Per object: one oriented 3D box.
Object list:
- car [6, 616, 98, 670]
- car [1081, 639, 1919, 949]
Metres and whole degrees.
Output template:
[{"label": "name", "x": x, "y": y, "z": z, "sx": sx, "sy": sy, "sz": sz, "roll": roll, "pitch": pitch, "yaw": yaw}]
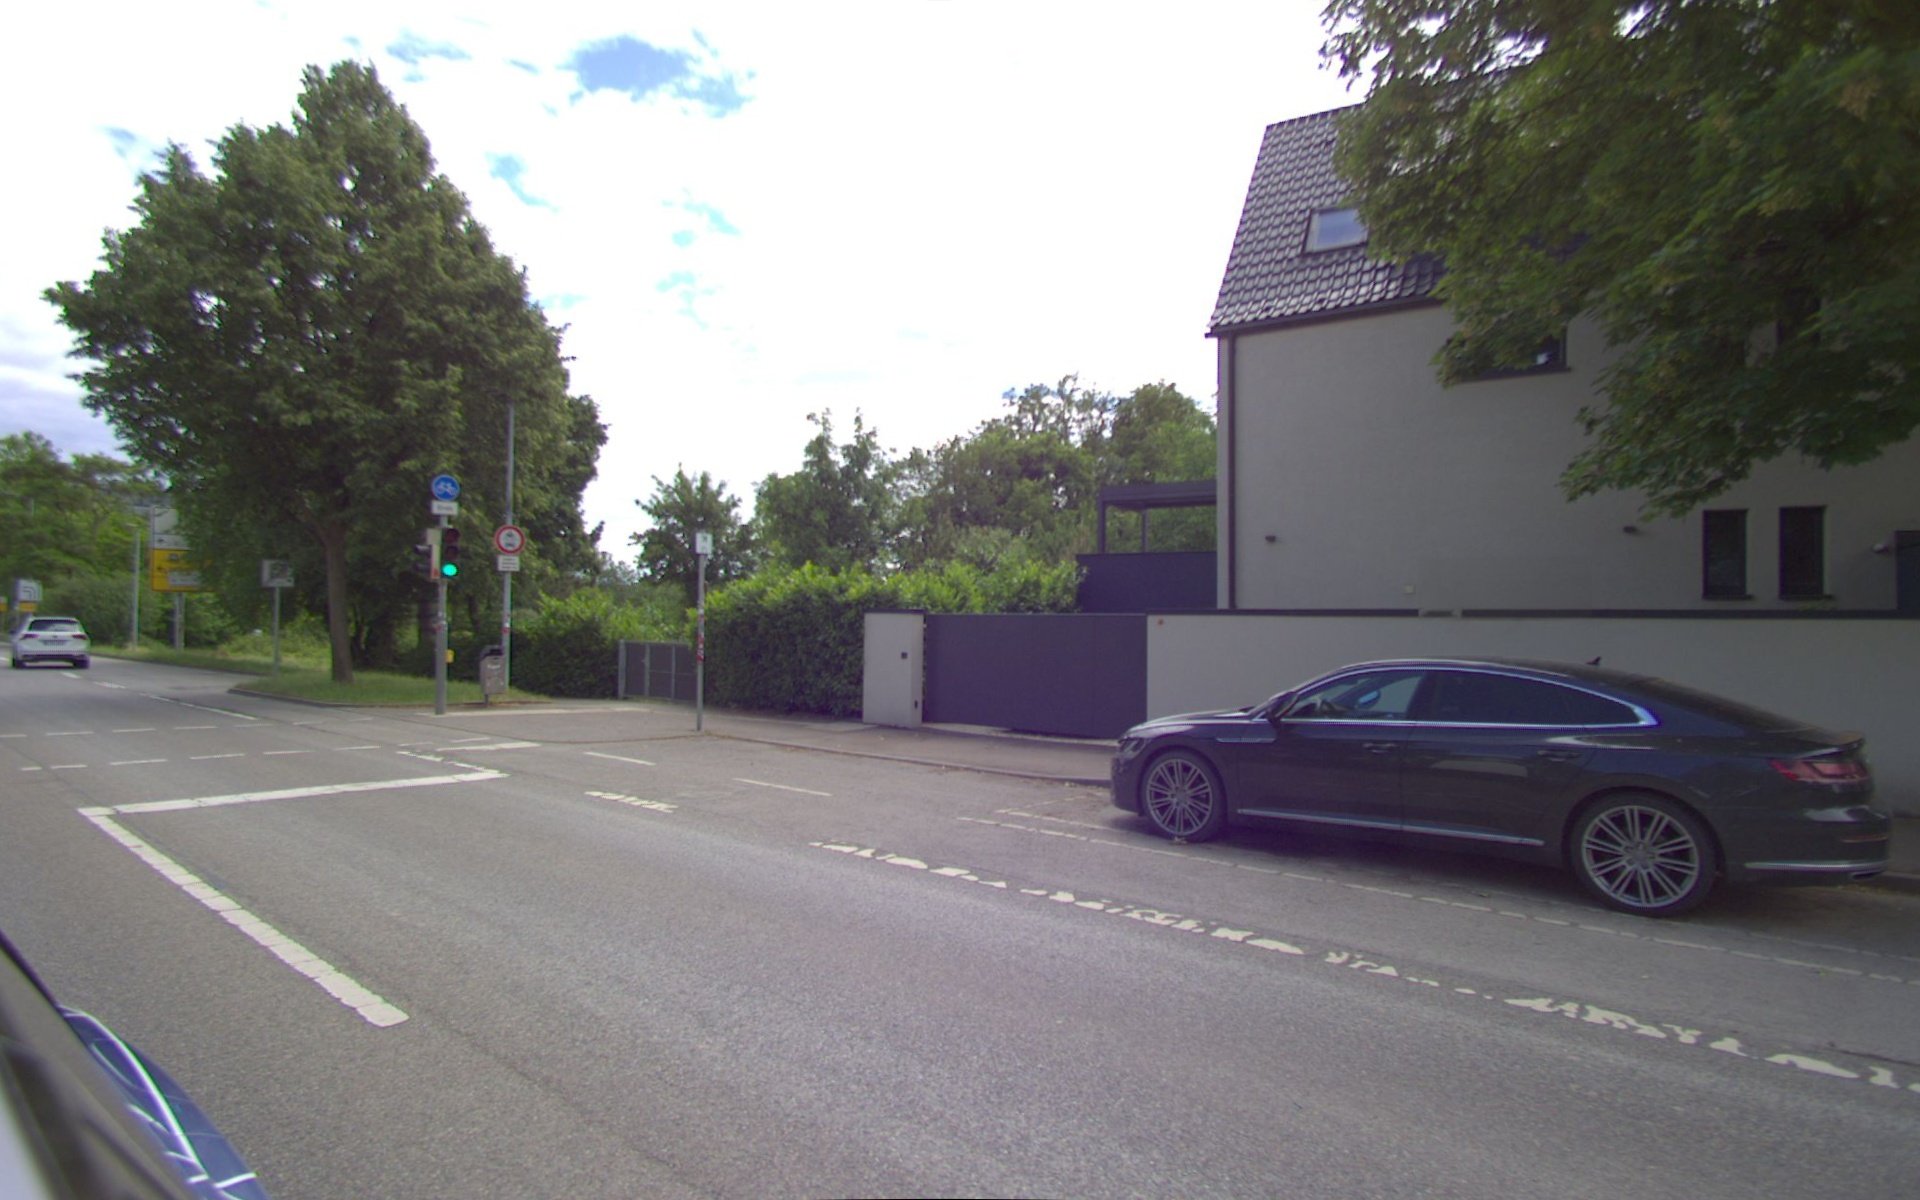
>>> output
[{"label": "car", "x": -29.630, "y": 1.362, "z": 32.985, "sx": 3.998, "sy": 1.644, "sz": 1.763, "roll": -1, "pitch": -2, "yaw": 42}, {"label": "car", "x": 3.371, "y": 1.018, "z": 6.932, "sx": 4.924, "sy": 1.419, "sz": 1.728, "roll": -1, "pitch": -4, "yaw": 40}]
